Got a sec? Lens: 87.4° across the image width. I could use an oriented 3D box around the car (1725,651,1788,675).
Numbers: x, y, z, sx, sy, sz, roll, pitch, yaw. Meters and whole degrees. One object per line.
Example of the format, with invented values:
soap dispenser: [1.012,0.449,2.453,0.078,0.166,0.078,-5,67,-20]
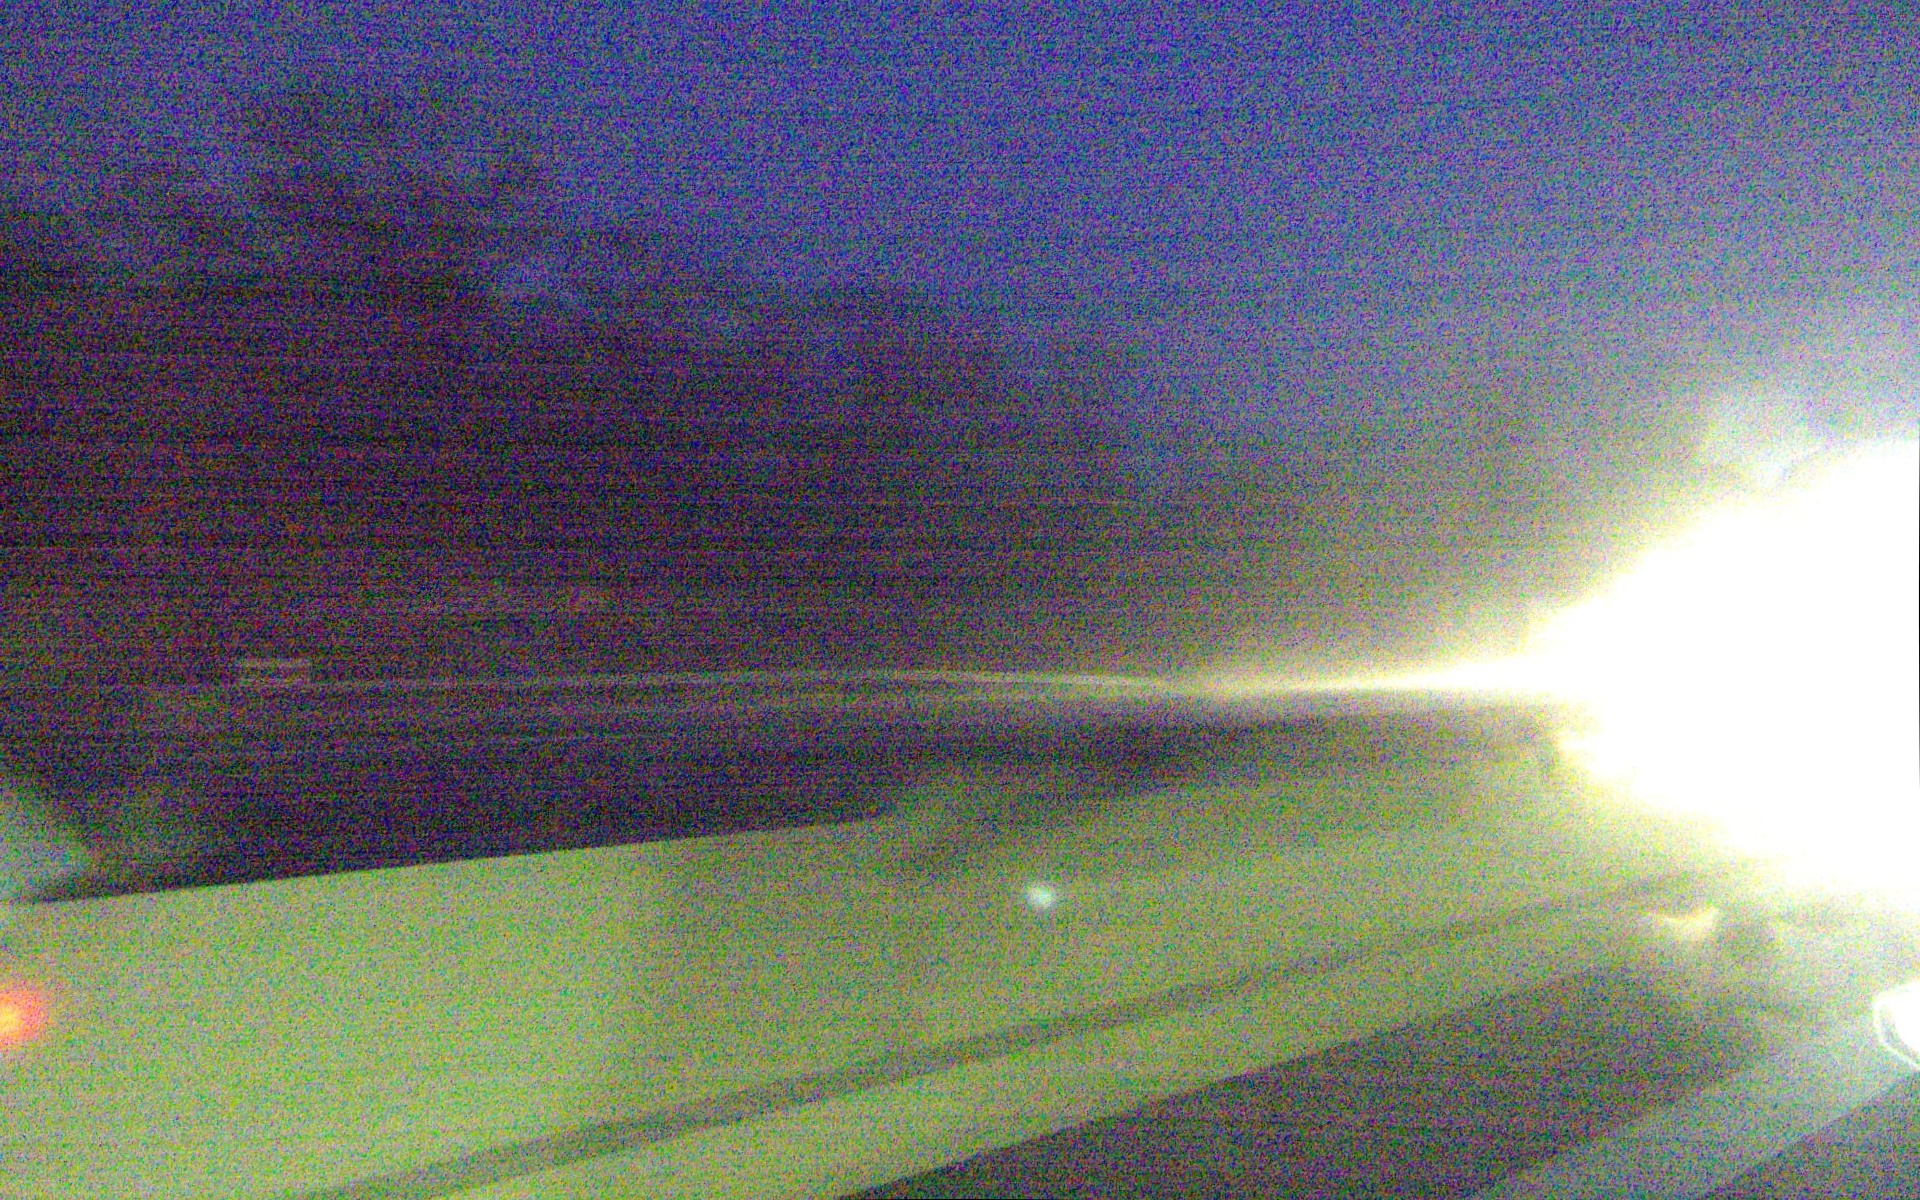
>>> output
car: [41.212,3.242,51.980,3.500,1.140,1.402,1,-2,-30]
